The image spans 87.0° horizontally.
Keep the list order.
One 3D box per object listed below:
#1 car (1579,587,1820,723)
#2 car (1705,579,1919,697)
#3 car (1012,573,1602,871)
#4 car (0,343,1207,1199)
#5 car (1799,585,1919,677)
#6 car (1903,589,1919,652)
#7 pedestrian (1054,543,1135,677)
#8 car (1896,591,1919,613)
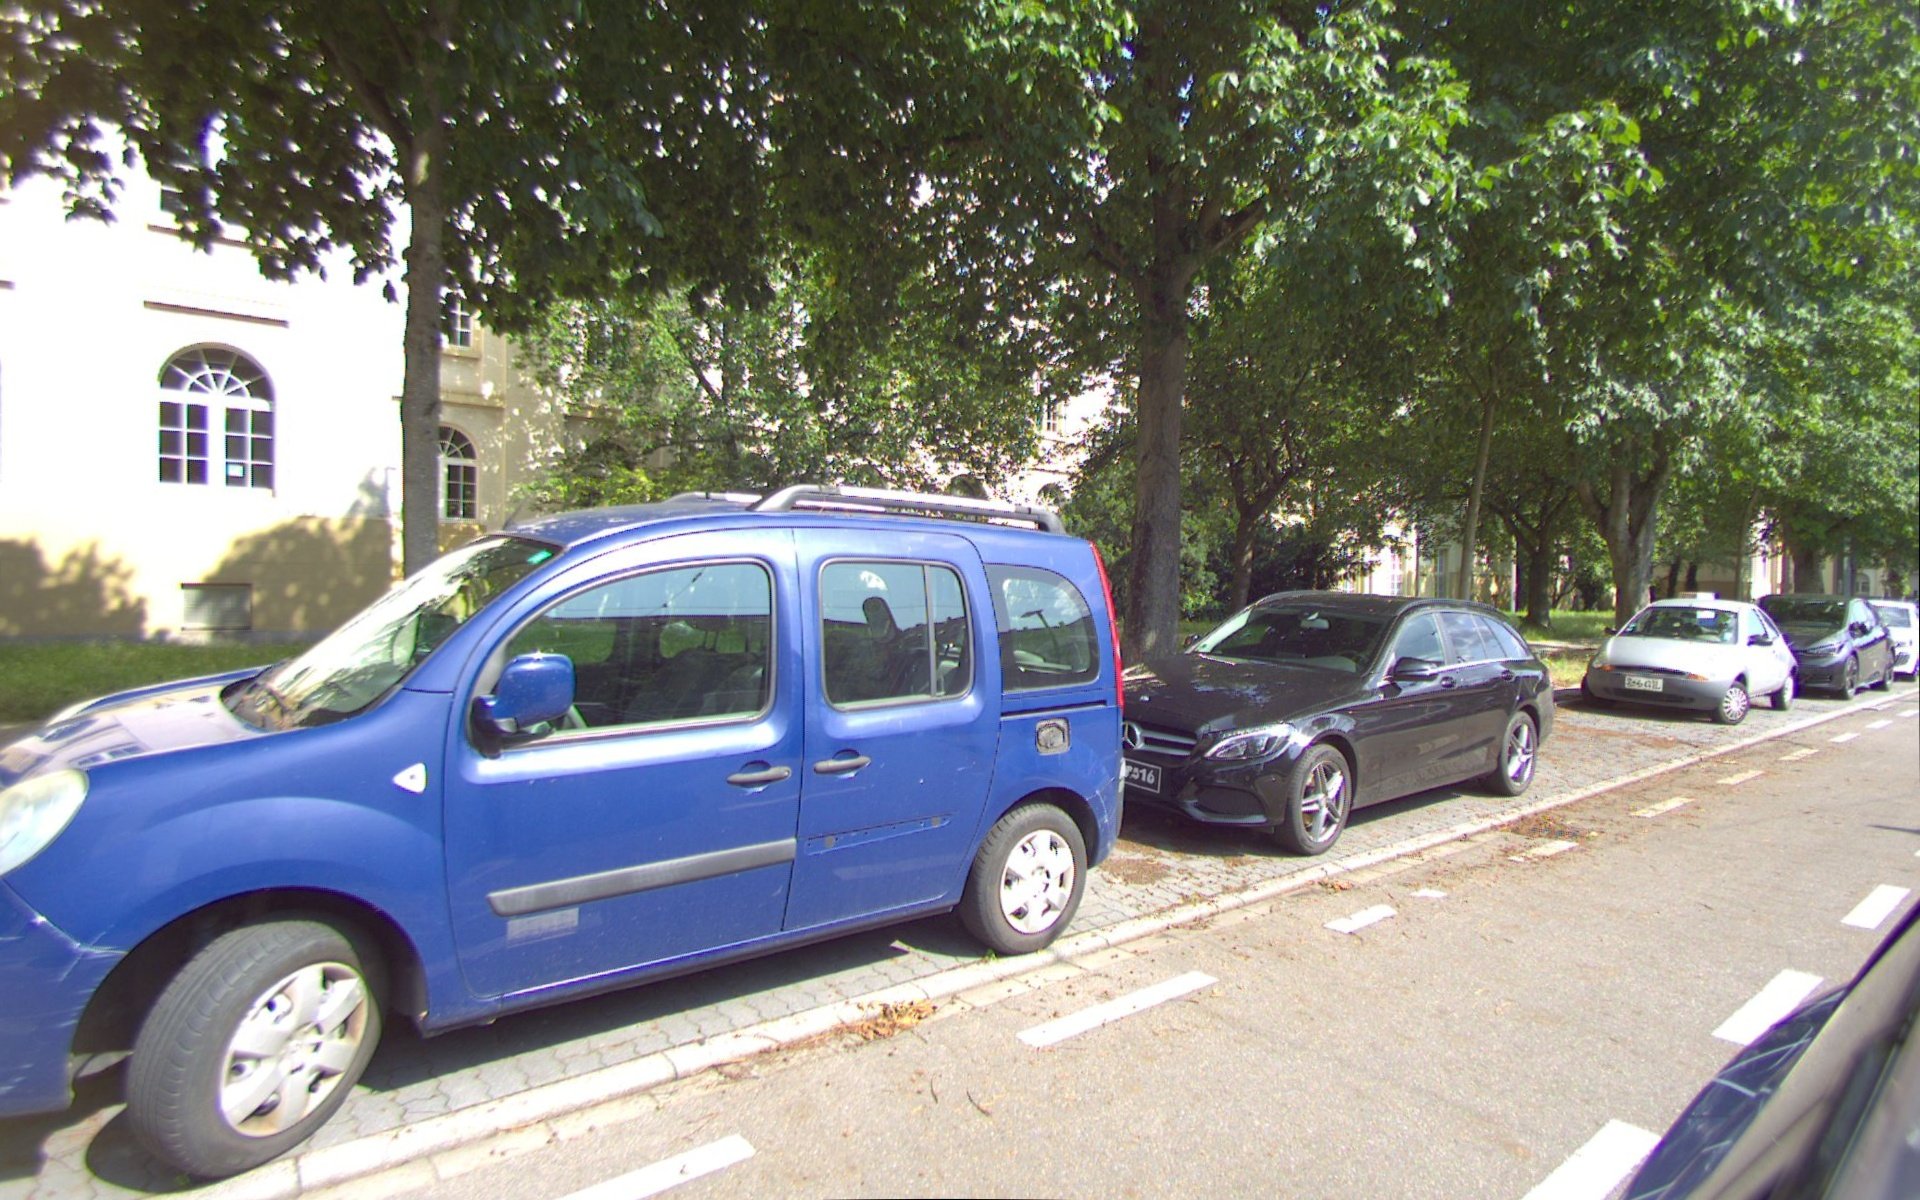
[{"bbox_3d":[9.626,0.599,13.095,3.532,1.462,1.595,-1,3,-38],"label":"car"},{"bbox_3d":[13.839,0.522,16.332,4.591,1.603,1.730,0,2,-38],"label":"car"},{"bbox_3d":[2.787,0.620,7.492,4.711,1.459,1.922,0,3,-40],"label":"car"},{"bbox_3d":[-1.122,0.395,3.952,4.106,1.919,1.828,1,2,-37],"label":"car"},{"bbox_3d":[18.082,0.527,19.832,4.179,1.542,1.839,0,4,-41],"label":"car"},{"bbox_3d":[24.809,0.519,25.156,3.497,1.478,1.559,-1,5,-41],"label":"car"},{"bbox_3d":[1.800,0.119,13.564,0.752,1.717,0.747,0,1,-34],"label":"pedestrian"},{"bbox_3d":[77.679,0.206,80.158,1.820,1.676,4.843,-1,2,-28],"label":"car"}]
